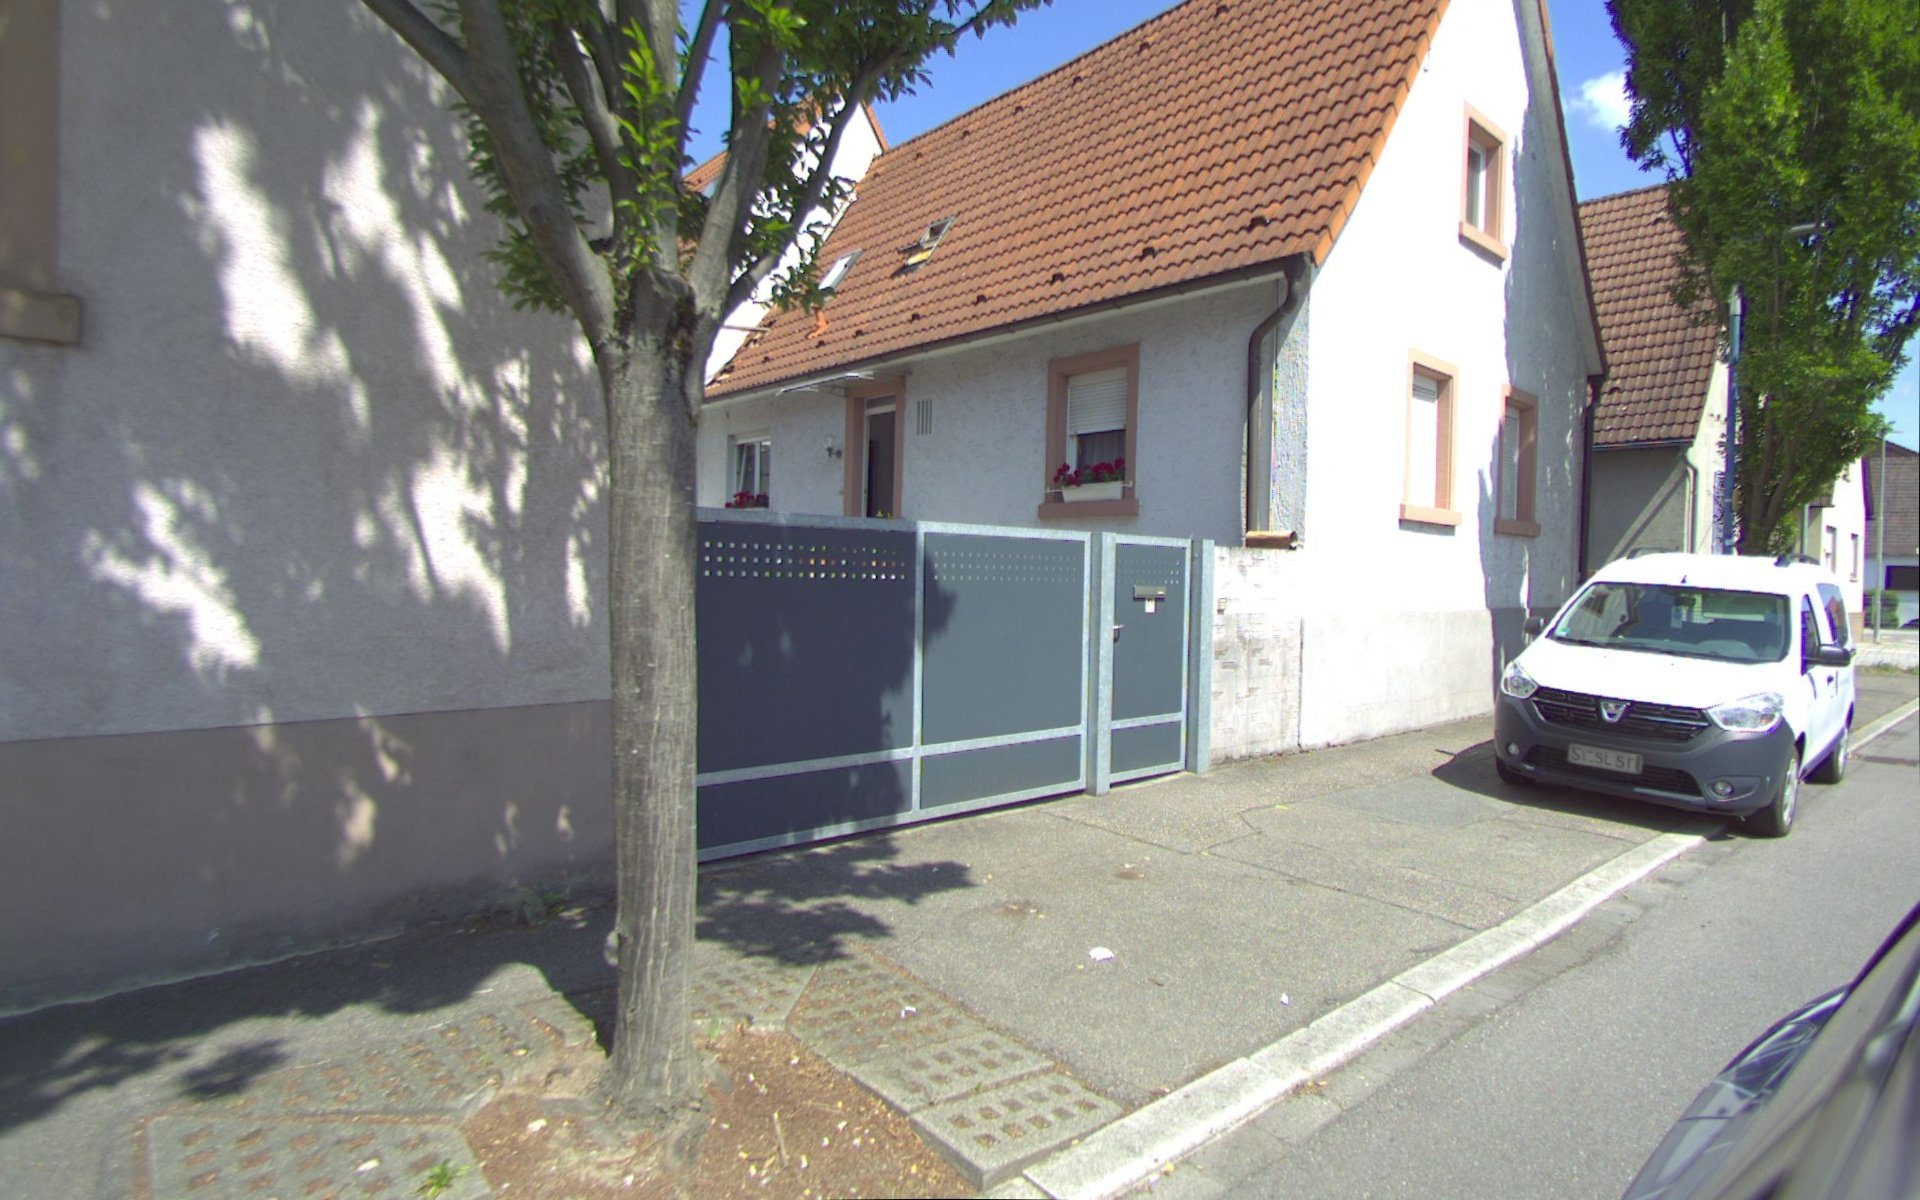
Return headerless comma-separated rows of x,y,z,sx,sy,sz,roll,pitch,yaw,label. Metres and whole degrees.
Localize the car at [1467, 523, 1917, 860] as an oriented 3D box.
5.846,0.461,7.822,4.680,1.864,1.692,0,4,-41,car
